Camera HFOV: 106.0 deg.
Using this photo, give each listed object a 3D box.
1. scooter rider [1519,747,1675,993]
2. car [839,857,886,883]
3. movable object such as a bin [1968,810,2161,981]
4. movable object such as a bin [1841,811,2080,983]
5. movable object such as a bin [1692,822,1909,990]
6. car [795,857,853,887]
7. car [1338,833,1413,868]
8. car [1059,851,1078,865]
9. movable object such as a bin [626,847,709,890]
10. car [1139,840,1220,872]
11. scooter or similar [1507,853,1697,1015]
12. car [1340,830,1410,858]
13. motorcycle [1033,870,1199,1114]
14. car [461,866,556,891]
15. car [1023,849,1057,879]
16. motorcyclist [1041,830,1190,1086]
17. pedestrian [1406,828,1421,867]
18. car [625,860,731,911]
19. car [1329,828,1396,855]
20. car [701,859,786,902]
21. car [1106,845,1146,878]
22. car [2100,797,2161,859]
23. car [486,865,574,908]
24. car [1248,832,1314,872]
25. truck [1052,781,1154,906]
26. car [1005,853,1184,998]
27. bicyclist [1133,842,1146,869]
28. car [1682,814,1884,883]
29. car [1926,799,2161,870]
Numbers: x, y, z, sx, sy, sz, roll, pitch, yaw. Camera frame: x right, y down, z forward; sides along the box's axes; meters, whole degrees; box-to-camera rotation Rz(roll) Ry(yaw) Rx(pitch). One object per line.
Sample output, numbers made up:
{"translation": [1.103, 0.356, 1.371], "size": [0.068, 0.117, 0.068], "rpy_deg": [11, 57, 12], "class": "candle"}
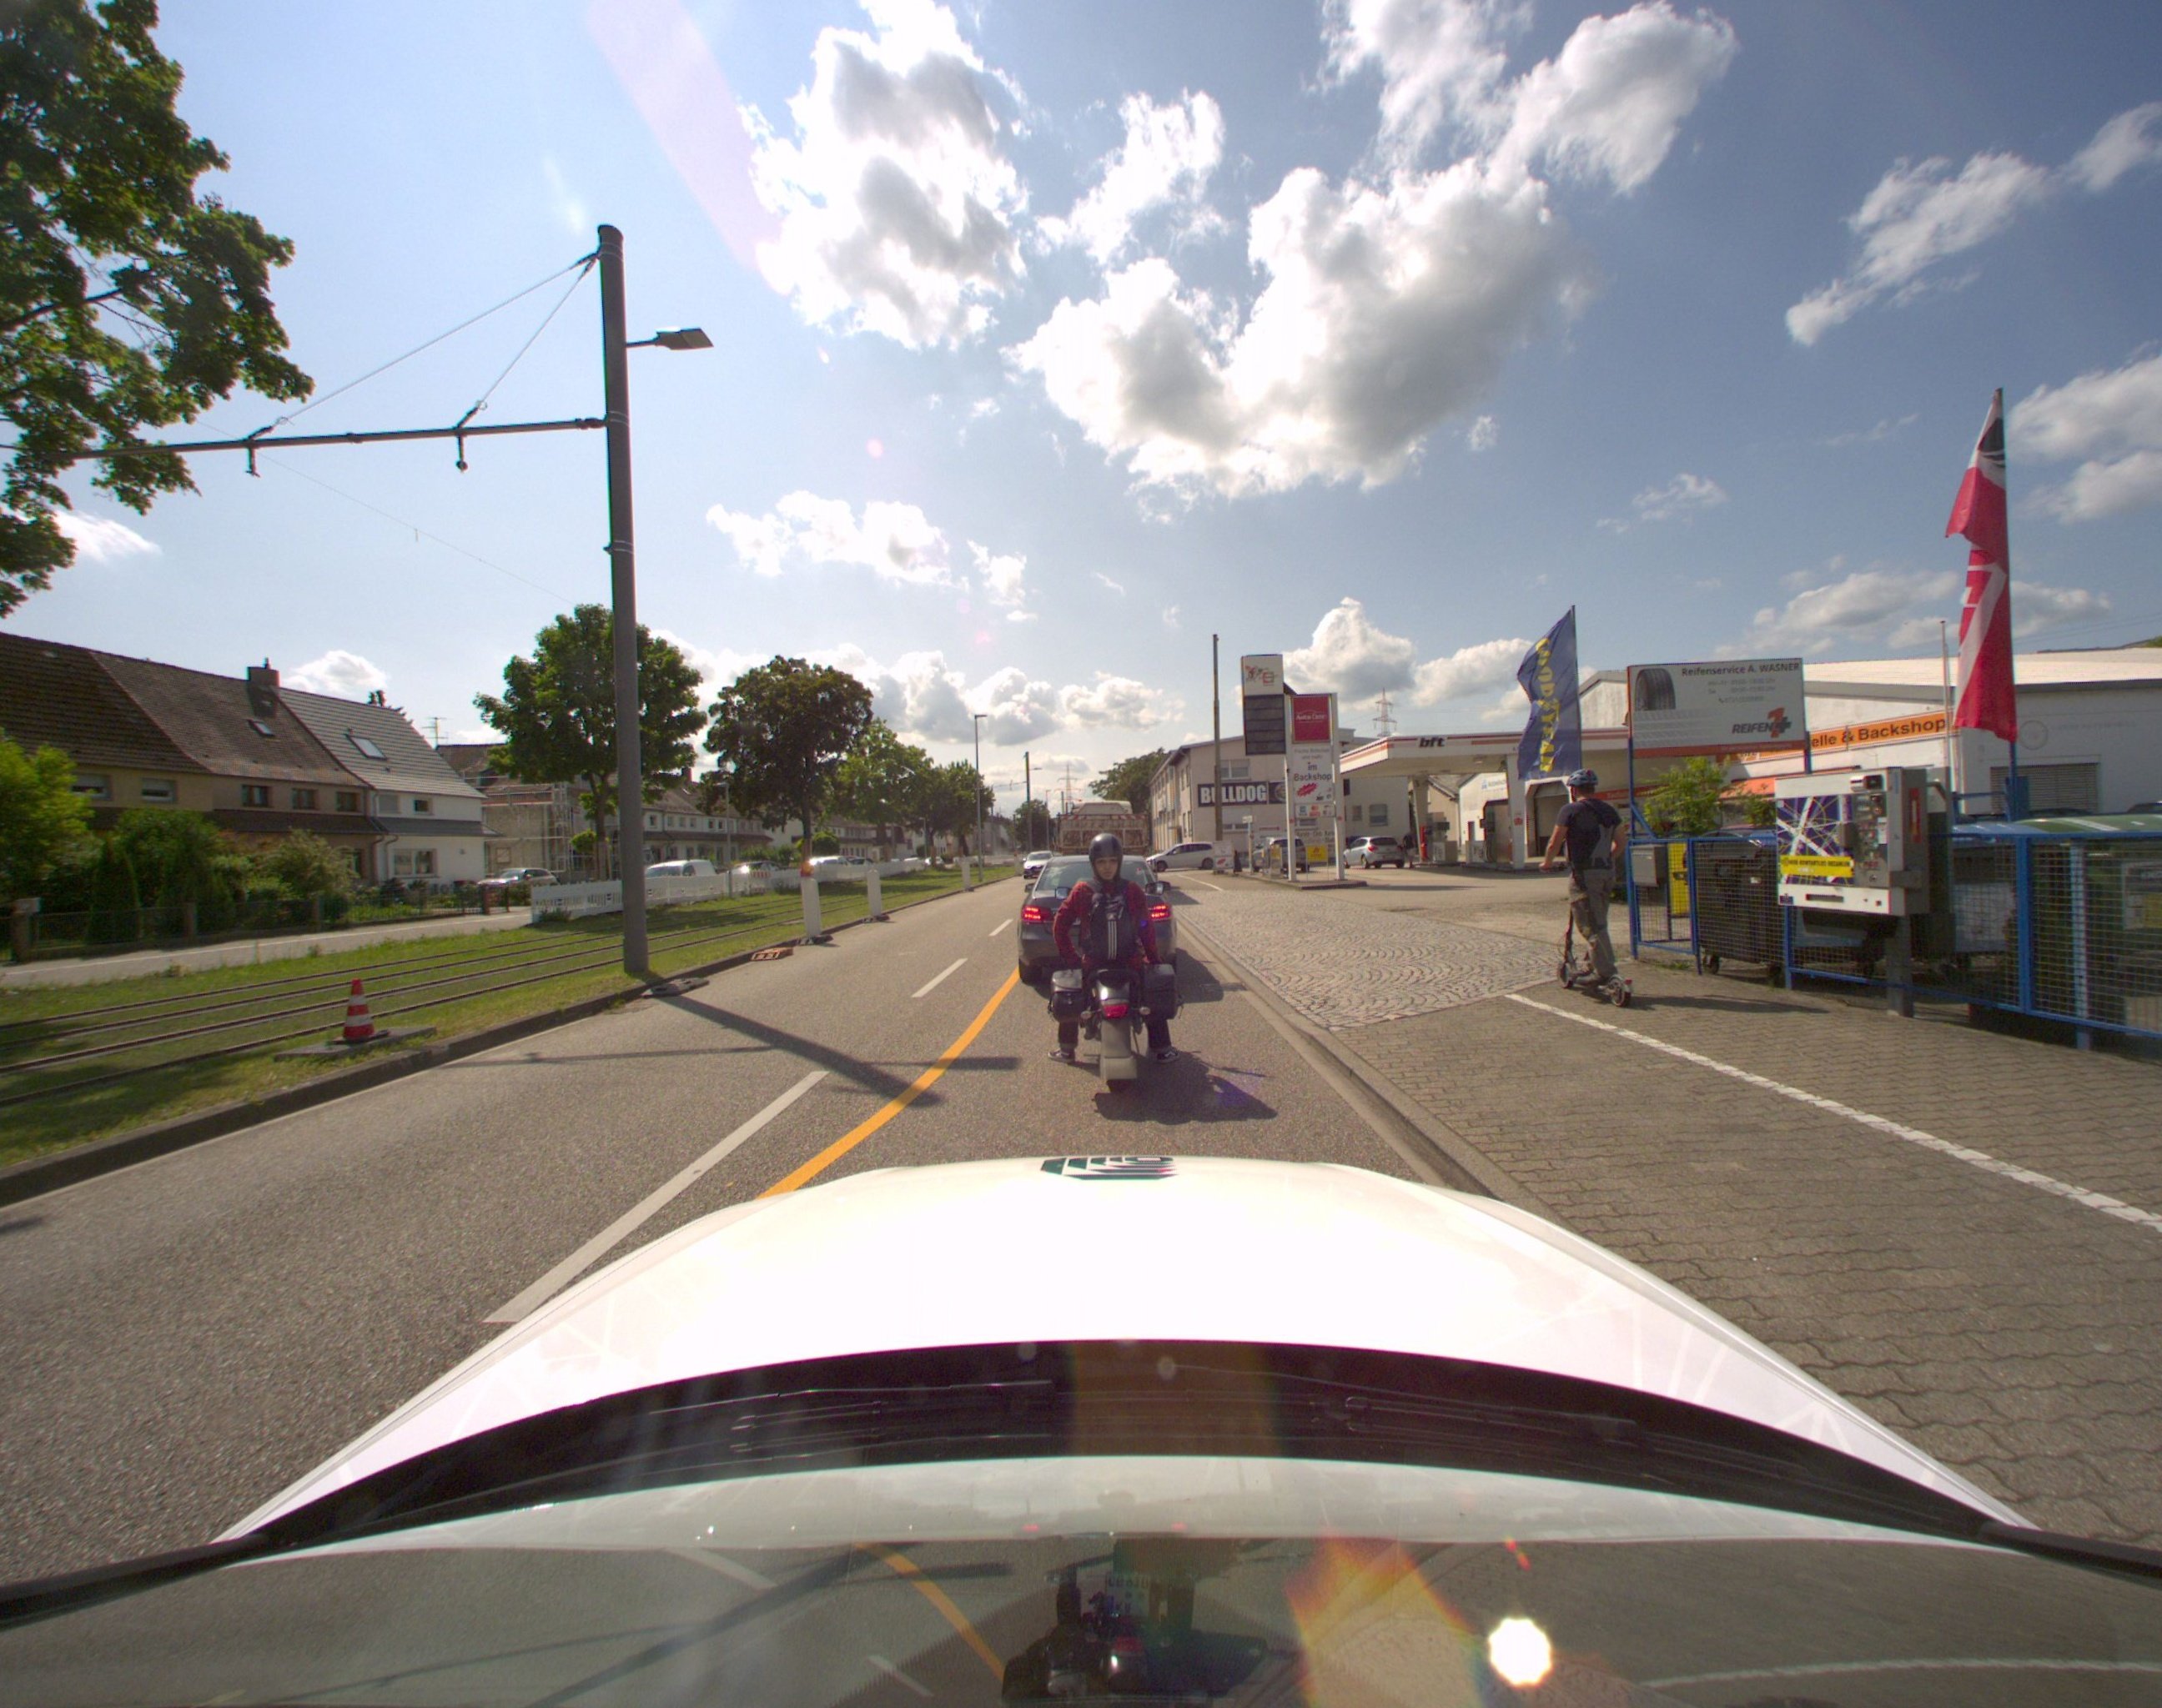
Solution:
{"translation": [4.430, 0.129, 7.051], "size": [0.714, 1.963, 0.785], "rpy_deg": [-5, 0, 1], "class": "scooter rider"}
{"translation": [-15.019, 1.065, 56.182], "size": [1.986, 1.606, 4.001], "rpy_deg": [-3, 0, 2], "class": "car"}
{"translation": [9.455, 0.345, 7.589], "size": [1.318, 1.444, 0.953], "rpy_deg": [-3, 0, -6], "class": "movable object such as a bin"}
{"translation": [8.132, 0.383, 7.588], "size": [1.251, 1.444, 0.824], "rpy_deg": [-3, -1, 2], "class": "movable object such as a bin"}
{"translation": [6.766, 0.470, 7.723], "size": [1.251, 1.444, 0.824], "rpy_deg": [-3, -1, 2], "class": "movable object such as a bin"}
{"translation": [-15.241, 1.038, 48.537], "size": [1.986, 1.606, 4.001], "rpy_deg": [-3, 0, 2], "class": "car"}
{"translation": [13.532, -0.131, 37.693], "size": [1.953, 1.420, 3.999], "rpy_deg": [-3, 0, 0], "class": "car"}
{"translation": [-1.365, 0.427, 89.017], "size": [1.840, 1.386, 4.345], "rpy_deg": [-3, 0, 1], "class": "car"}
{"translation": [-26.128, 0.871, 51.615], "size": [4.351, 2.449, 1.776], "rpy_deg": [-3, 0, -21], "class": "movable object such as a bin"}
{"translation": [5.757, 0.118, 47.797], "size": [4.326, 1.551, 1.945], "rpy_deg": [-3, 0, -7], "class": "car"}
{"translation": [4.362, 0.608, 6.969], "size": [0.538, 1.195, 1.611], "rpy_deg": [-4, 0, 1], "class": "scooter or similar"}
{"translation": [19.685, -0.638, 54.689], "size": [3.973, 1.648, 1.966], "rpy_deg": [-3, 0, 0], "class": "car"}
{"translation": [0.238, 0.810, 5.939], "size": [0.936, 1.320, 2.646], "rpy_deg": [0, 0, 2], "class": "motorcycle"}
{"translation": [-27.568, 1.149, 39.390], "size": [1.679, 1.052, 3.980], "rpy_deg": [-3, 0, 1], "class": "car"}
{"translation": [-2.263, 0.523, 45.674], "size": [1.649, 1.447, 4.302], "rpy_deg": [-3, 0, 0], "class": "car"}
{"translation": [0.234, 0.657, 5.758], "size": [0.936, 1.615, 1.205], "rpy_deg": [0, 0, 1], "class": "motorcyclist"}
{"translation": [14.653, -0.303, 35.856], "size": [0.395, 1.689, 0.486], "rpy_deg": [-3, -1, 3], "class": "pedestrian"}
{"translation": [-15.565, 1.174, 31.718], "size": [1.986, 1.750, 4.001], "rpy_deg": [-3, 0, 2], "class": "car"}
{"translation": [19.745, -0.833, 57.237], "size": [3.973, 1.648, 1.966], "rpy_deg": [-3, 0, 0], "class": "car"}
{"translation": [-15.294, 1.165, 37.155], "size": [1.986, 1.750, 4.001], "rpy_deg": [-3, 0, 2], "class": "car"}
{"translation": [2.153, 0.325, 39.591], "size": [1.814, 1.464, 4.002], "rpy_deg": [-2, 0, 2], "class": "car"}
{"translation": [26.361, -0.695, 18.591], "size": [3.993, 1.388, 1.613], "rpy_deg": [-3, 0, 3], "class": "car"}
{"translation": [-24.427, 1.401, 36.210], "size": [1.678, 1.721, 3.031], "rpy_deg": [-3, 0, 2], "class": "car"}
{"translation": [9.012, -0.079, 37.060], "size": [1.953, 1.648, 3.999], "rpy_deg": [-3, 0, 0], "class": "car"}
{"translation": [0.795, -0.298, 26.749], "size": [2.600, 3.256, 9.187], "rpy_deg": [-3, 0, 2], "class": "truck"}
{"translation": [0.199, 0.733, 10.416], "size": [1.815, 1.424, 4.002], "rpy_deg": [-2, 0, 2], "class": "car"}
{"translation": [3.859, 0.082, 53.460], "size": [0.667, 1.744, 0.816], "rpy_deg": [-2, 0, 11], "class": "bicyclist"}
{"translation": [16.447, -0.120, 19.205], "size": [3.308, 1.360, 1.612], "rpy_deg": [-3, 0, 1], "class": "car"}
{"translation": [21.852, -0.428, 18.532], "size": [3.483, 1.360, 1.612], "rpy_deg": [-3, 0, 1], "class": "car"}
